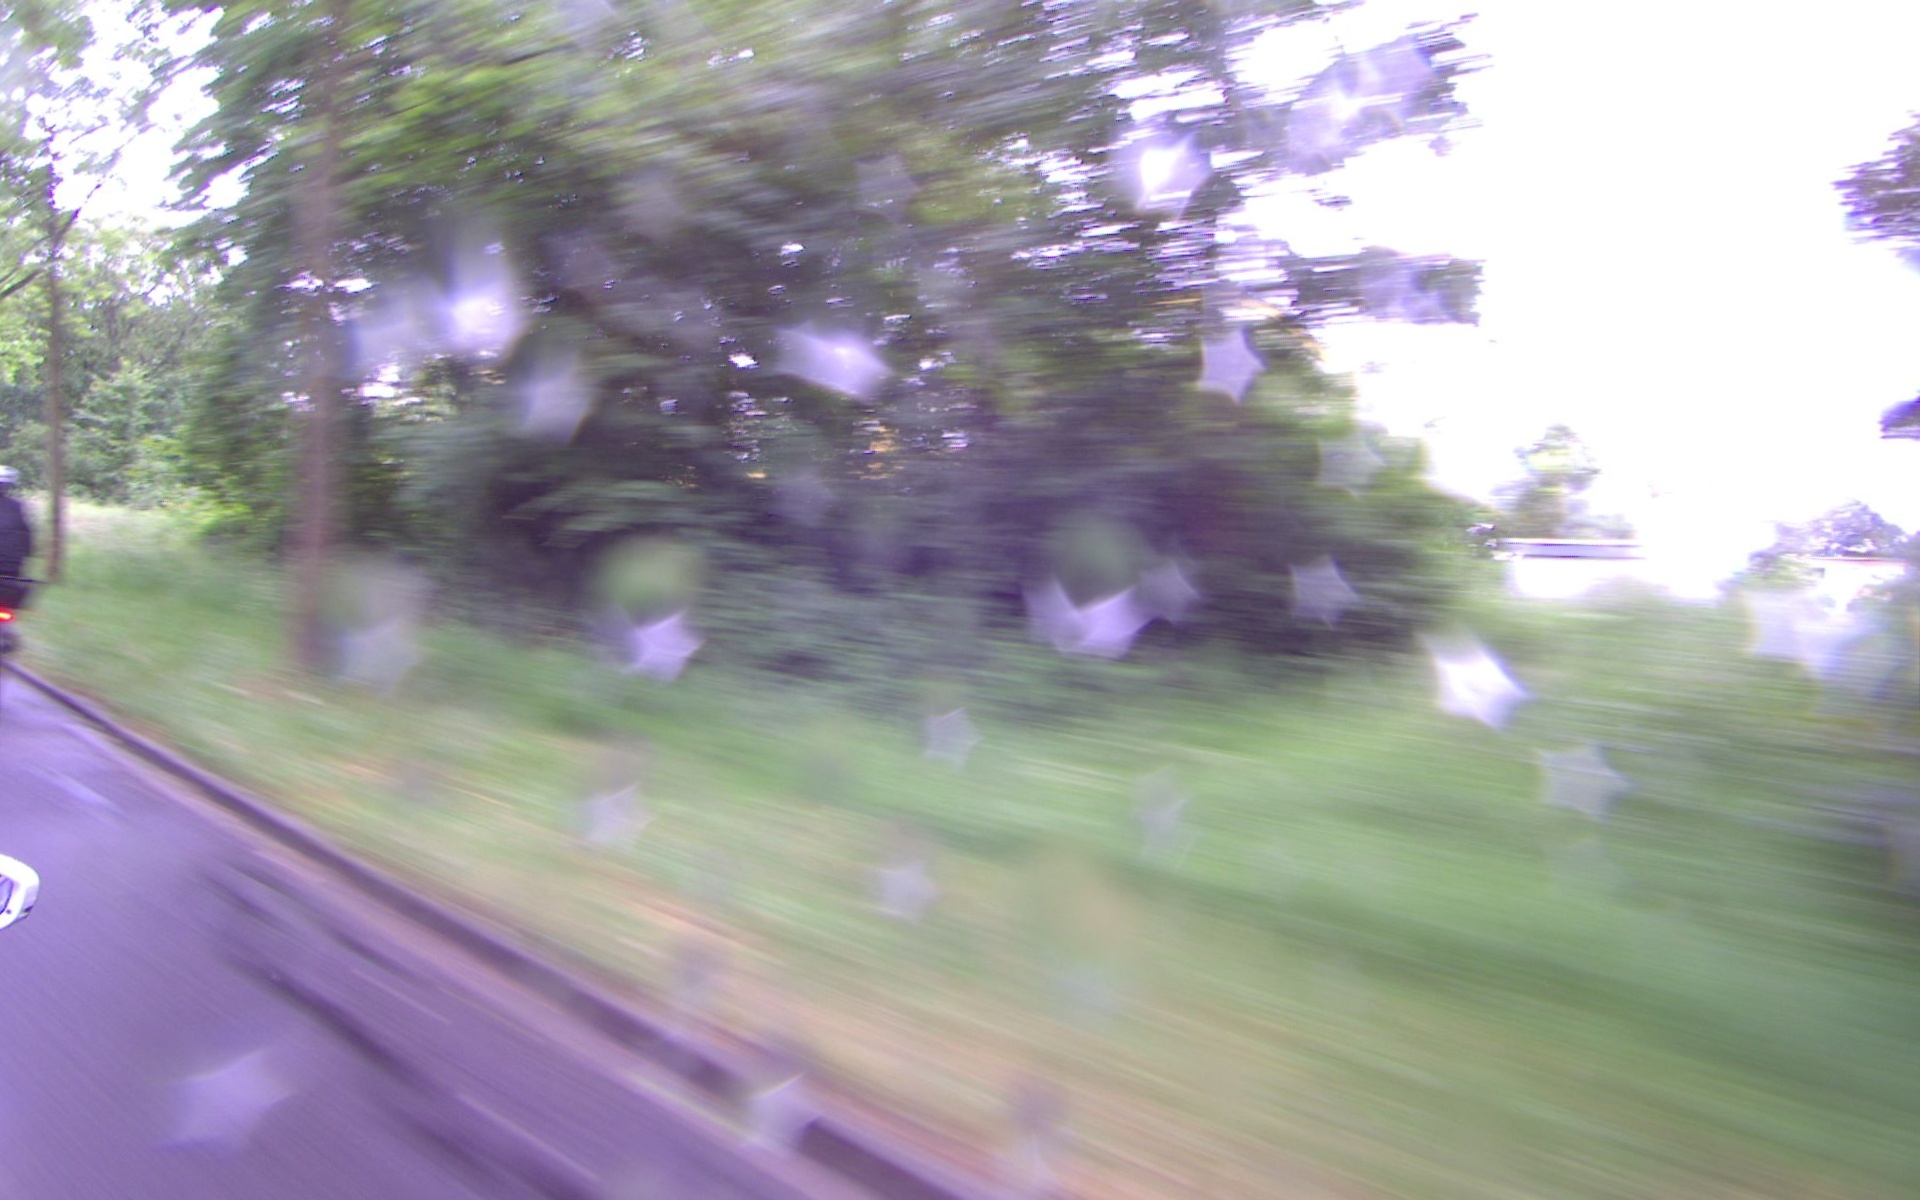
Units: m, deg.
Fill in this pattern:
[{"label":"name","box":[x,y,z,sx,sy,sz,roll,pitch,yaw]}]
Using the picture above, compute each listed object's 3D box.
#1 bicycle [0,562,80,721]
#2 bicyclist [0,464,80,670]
[{"label":"bicycle","box":[-7.379,0.230,7.476,2.139,0.985,0.730,6,-2,36]},{"label":"bicyclist","box":[-7.161,-0.283,7.377,0.958,1.427,0.730,7,-2,36]}]
